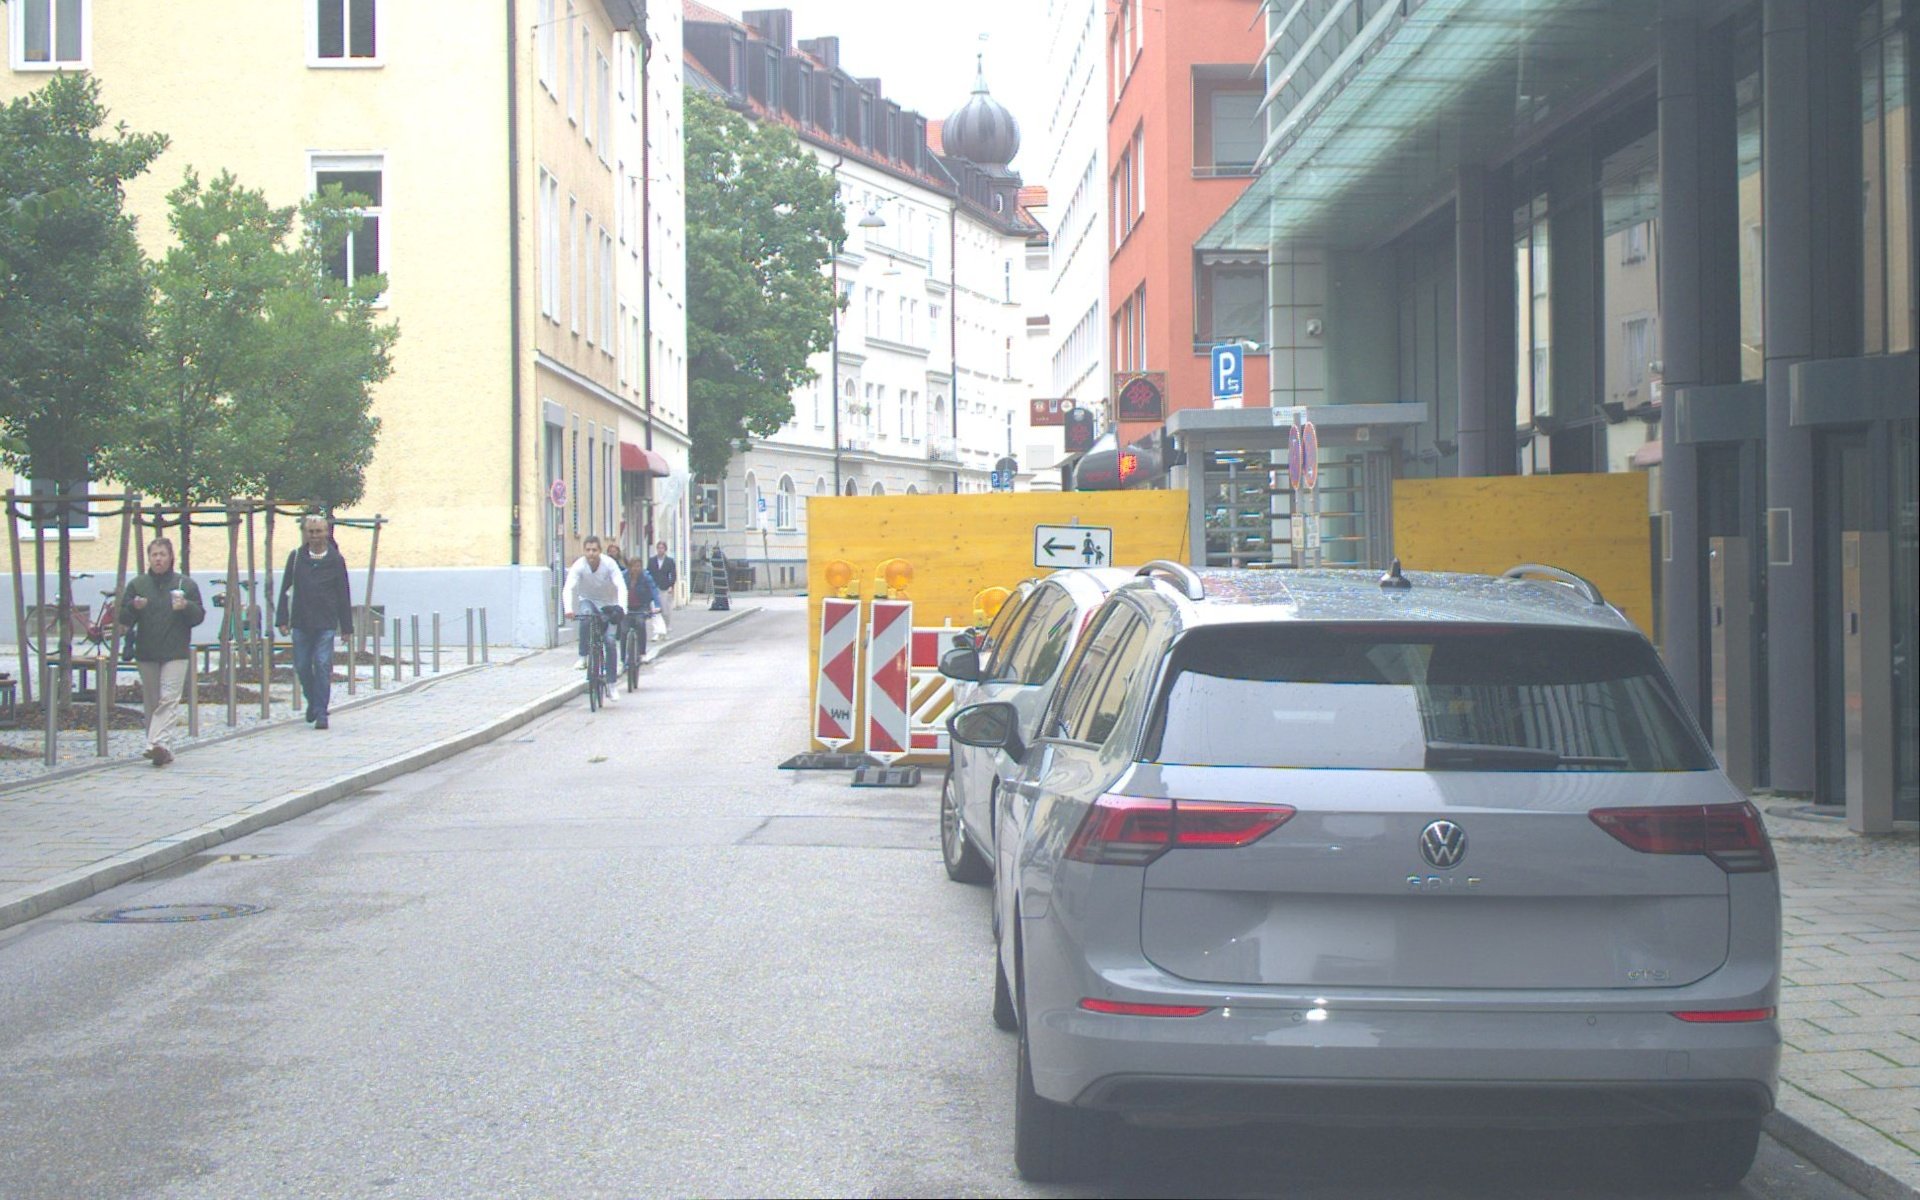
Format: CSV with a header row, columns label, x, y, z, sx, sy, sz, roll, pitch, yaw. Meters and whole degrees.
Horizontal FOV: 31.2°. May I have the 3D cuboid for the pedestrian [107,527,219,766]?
label,x,y,z,sx,sy,sz,roll,pitch,yaw
pedestrian,-5.667,0.323,24.476,0.647,1.671,0.724,0,0,-2

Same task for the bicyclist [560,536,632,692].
label,x,y,z,sx,sy,sz,roll,pitch,yaw
bicyclist,-3.878,0.144,36.685,0.659,1.637,0.895,-1,1,-1

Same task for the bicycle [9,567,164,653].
label,x,y,z,sx,sy,sz,roll,pitch,yaw
bicycle,-12.324,0.140,48.519,2.044,1.193,0.570,0,1,6

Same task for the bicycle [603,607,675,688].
label,x,y,z,sx,sy,sz,roll,pitch,yaw
bicycle,-3.818,0.554,40.999,0.707,0.902,1.809,-1,1,-1

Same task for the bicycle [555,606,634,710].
label,x,y,z,sx,sy,sz,roll,pitch,yaw
bicycle,-3.879,0.597,36.561,0.661,1.035,2.005,-1,1,-1

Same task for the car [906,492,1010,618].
label,x,y,z,sx,sy,sz,roll,pitch,yaw
car,-0.081,-0.952,71.772,1.993,2.528,4.975,0,1,-2

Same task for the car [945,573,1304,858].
label,x,y,z,sx,sy,sz,roll,pitch,yaw
car,0.824,0.568,19.663,1.708,1.409,4.510,1,0,-1

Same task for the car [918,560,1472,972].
label,x,y,z,sx,sy,sz,roll,pitch,yaw
car,0.827,0.583,14.502,1.707,1.462,4.238,1,0,-4

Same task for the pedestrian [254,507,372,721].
label,x,y,z,sx,sy,sz,roll,pitch,yaw
pedestrian,-5.766,0.117,30.671,0.867,1.875,1.135,0,0,-2

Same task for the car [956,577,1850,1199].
label,x,y,z,sx,sy,sz,roll,pitch,yaw
car,0.910,0.667,9.209,1.708,1.427,4.330,0,1,-2

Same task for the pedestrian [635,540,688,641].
label,x,y,z,sx,sy,sz,roll,pitch,yaw
pedestrian,-5.070,-0.168,58.424,0.839,1.695,0.803,0,0,-1

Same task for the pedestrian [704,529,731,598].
label,x,y,z,sx,sy,sz,roll,pitch,yaw
pedestrian,-5.982,-0.900,84.673,0.634,1.669,0.517,0,1,-1

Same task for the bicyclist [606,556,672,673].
label,x,y,z,sx,sy,sz,roll,pitch,yaw
bicyclist,-3.829,0.168,41.054,0.707,1.366,0.813,-1,1,-1

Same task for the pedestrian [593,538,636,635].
label,x,y,z,sx,sy,sz,roll,pitch,yaw
pedestrian,-5.899,-0.226,58.727,0.670,1.642,0.761,0,0,-2
